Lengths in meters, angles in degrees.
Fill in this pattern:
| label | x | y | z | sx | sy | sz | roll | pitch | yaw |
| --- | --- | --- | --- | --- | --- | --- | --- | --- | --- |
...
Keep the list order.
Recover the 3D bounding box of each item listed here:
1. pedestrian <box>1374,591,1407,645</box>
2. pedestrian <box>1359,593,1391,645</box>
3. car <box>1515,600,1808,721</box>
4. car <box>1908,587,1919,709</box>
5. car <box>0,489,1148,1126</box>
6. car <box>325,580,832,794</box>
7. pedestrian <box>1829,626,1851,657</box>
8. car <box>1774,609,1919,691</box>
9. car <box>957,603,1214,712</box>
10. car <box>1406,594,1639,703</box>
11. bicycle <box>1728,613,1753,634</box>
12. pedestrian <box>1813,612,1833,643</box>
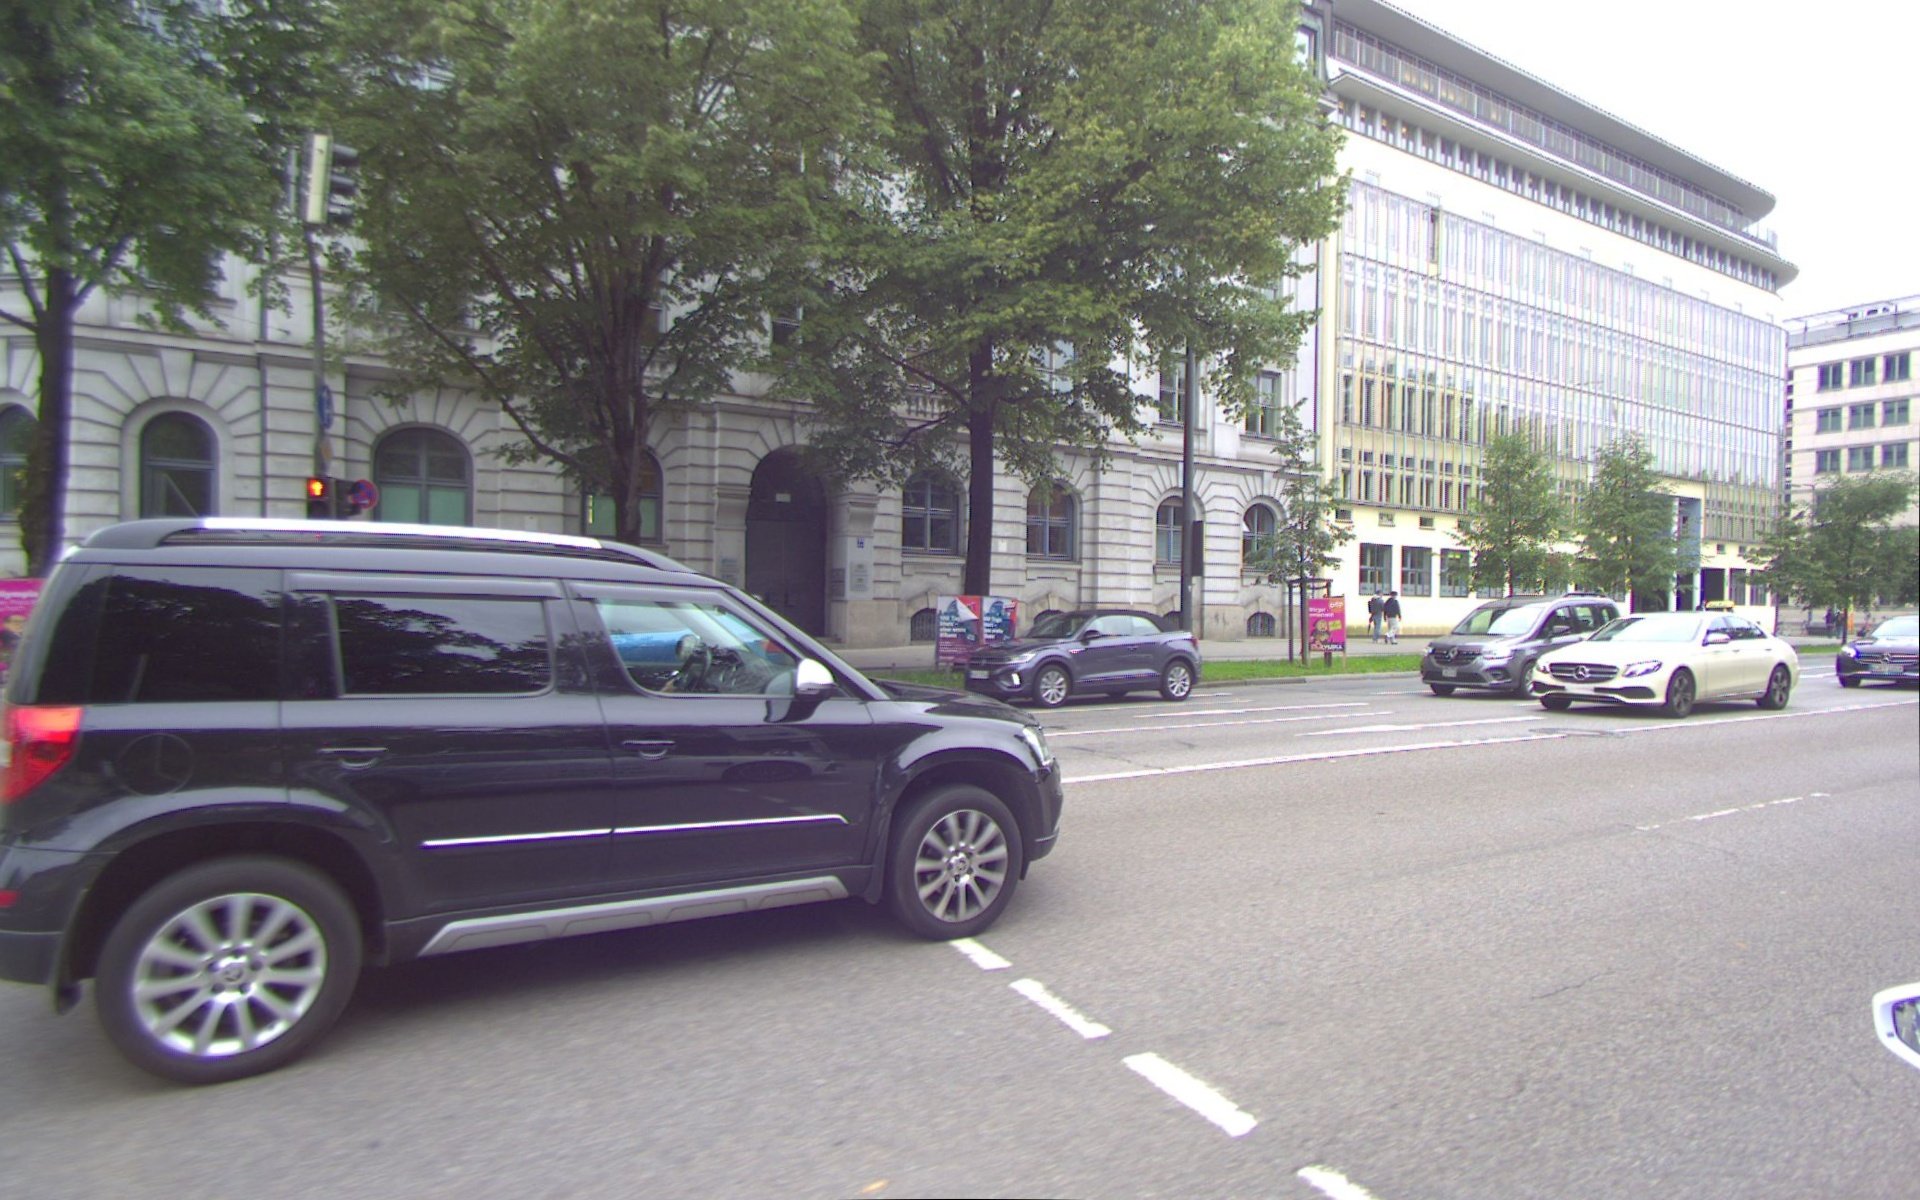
| label | x | y | z | sx | sy | sz | roll | pitch | yaw |
| --- | --- | --- | --- | --- | --- | --- | --- | --- | --- |
| pedestrian | 14.876 | 0.614 | 34.715 | 0.826 | 1.801 | 0.612 | 0 | 2 | -30 |
| pedestrian | 14.573 | 0.666 | 35.271 | 0.826 | 1.801 | 0.612 | 0 | 2 | -30 |
| car | 10.594 | 0.810 | 15.085 | 4.767 | 1.563 | 1.819 | 1 | 0 | -31 |
| car | 17.320 | 0.770 | 16.079 | 4.899 | 1.872 | 1.889 | 1 | 0 | -31 |
| car | -1.341 | 0.555 | 4.315 | 4.156 | 1.658 | 1.714 | 1 | 0 | -31 |
| car | -3.582 | 0.717 | 9.778 | 4.299 | 1.677 | 1.831 | 0 | -1 | -31 |
| pedestrian | 52.523 | 2.464 | 59.950 | 0.773 | 1.799 | 0.680 | 0 | 2 | -26 |
| car | 18.041 | 0.909 | 19.635 | 4.691 | 1.442 | 1.759 | 0 | -1 | -30 |
| car | 2.112 | 0.864 | 16.595 | 4.009 | 1.597 | 1.726 | 0 | 0 | -31 |
| car | 10.221 | 0.810 | 18.203 | 4.210 | 1.773 | 1.819 | 1 | 0 | -31 |
| bicycle | 41.127 | 1.238 | 52.936 | 1.577 | 1.026 | 0.569 | 0 | 2 | -34 |
| pedestrian | 52.214 | 1.657 | 60.791 | 0.665 | 1.799 | 0.680 | 0 | 2 | -26 |
